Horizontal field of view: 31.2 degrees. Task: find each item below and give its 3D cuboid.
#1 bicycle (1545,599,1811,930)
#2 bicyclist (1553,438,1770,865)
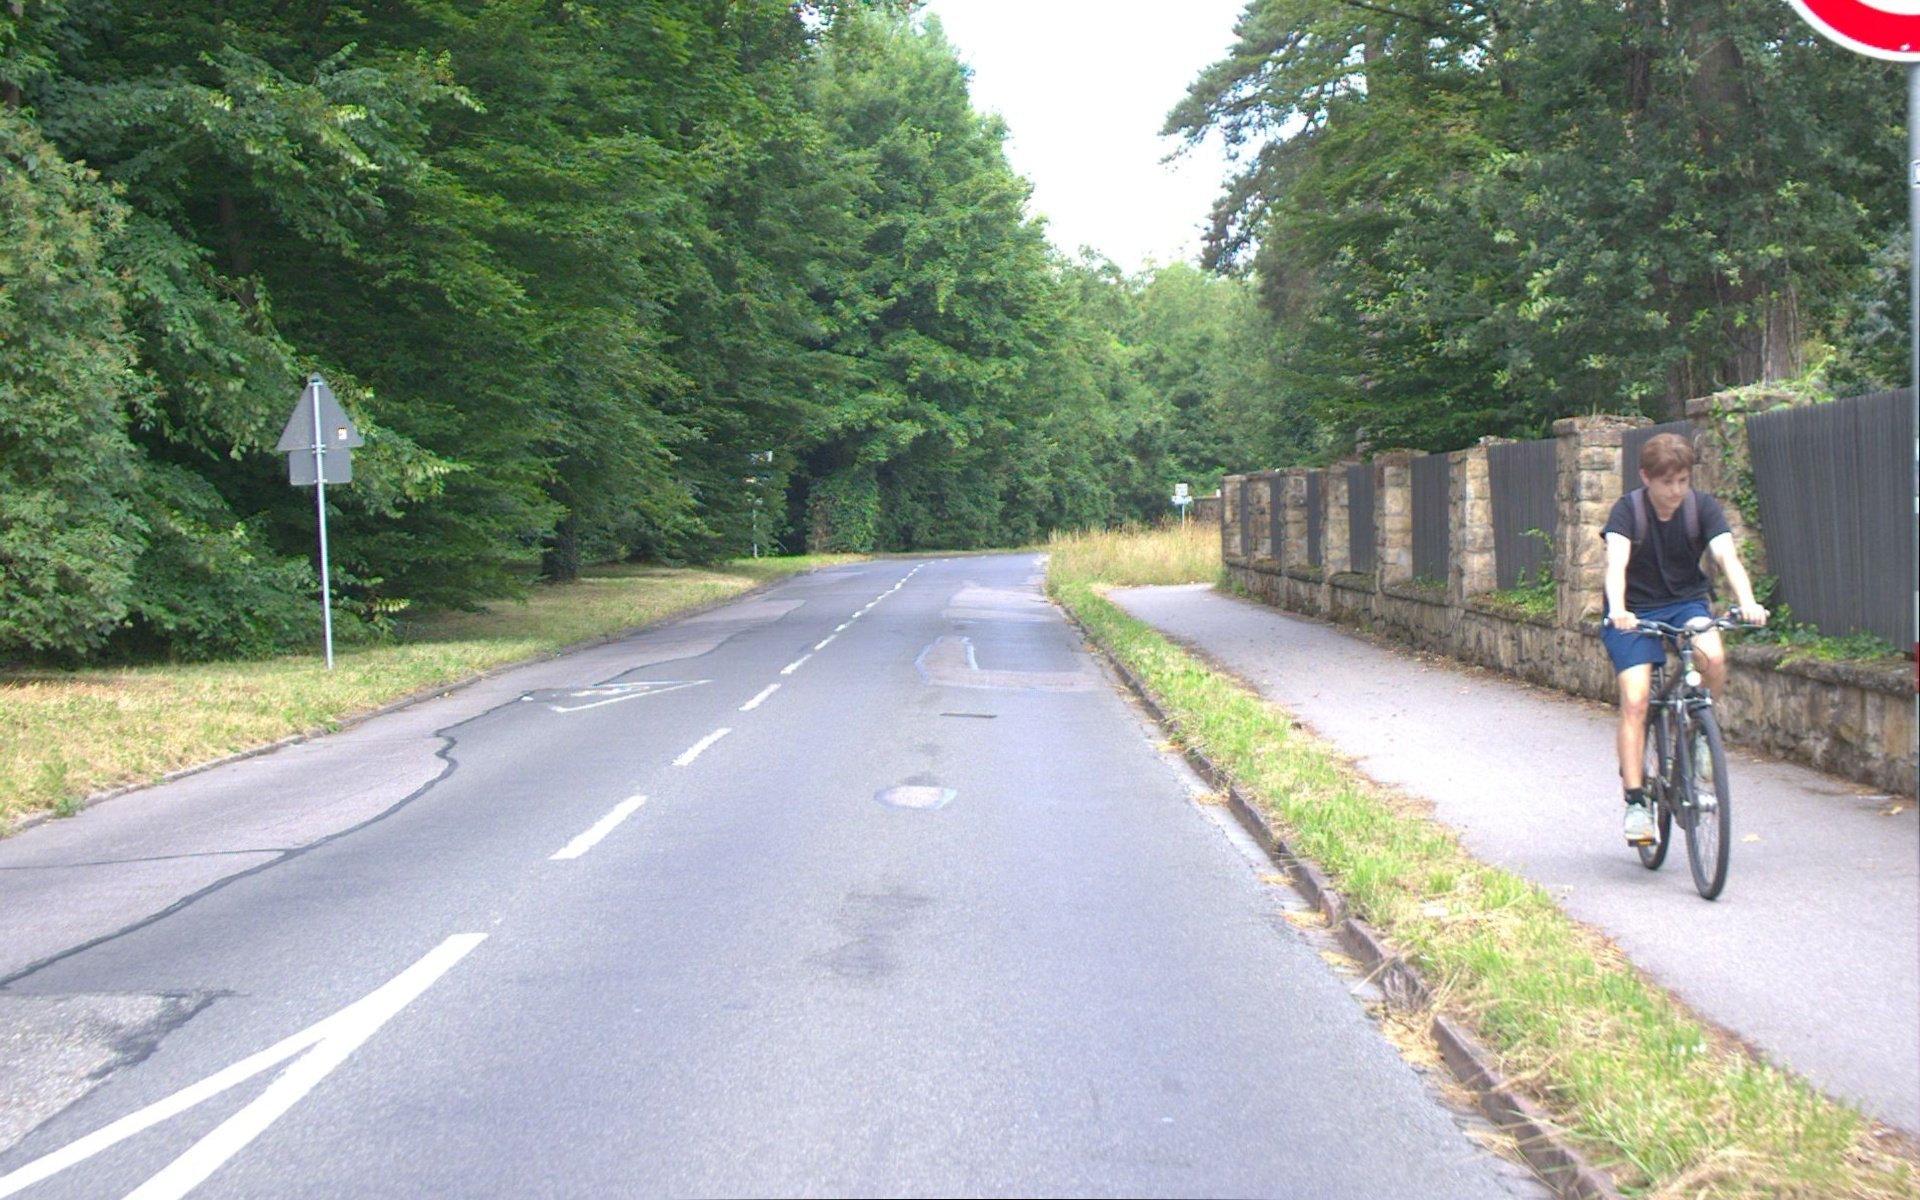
[{"bbox_3d":[2.737,0.587,13.301,0.558,1.069,2.157,-2,2,0],"label":"bicycle"},{"bbox_3d":[2.728,0.168,13.454,0.569,1.582,1.206,-2,2,0],"label":"bicyclist"}]
